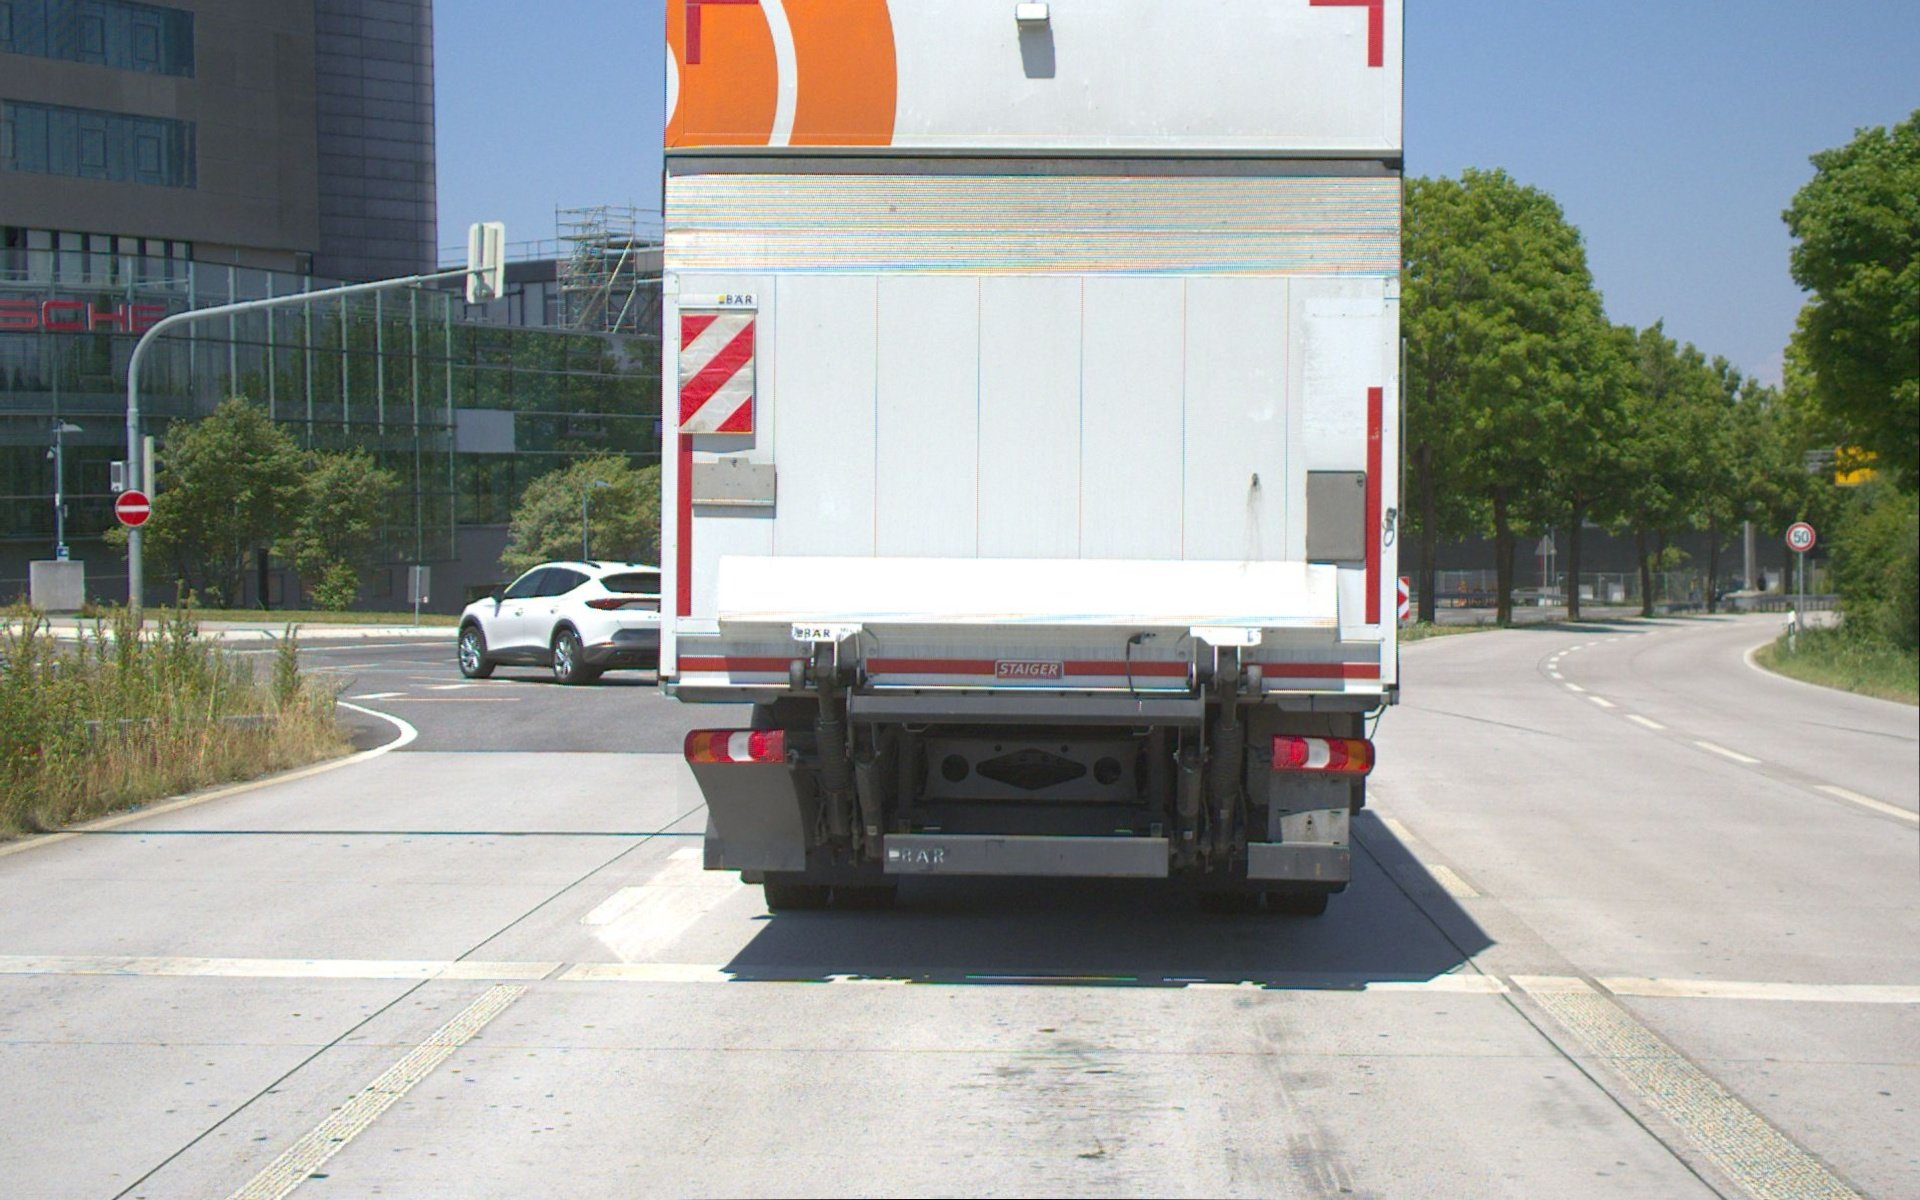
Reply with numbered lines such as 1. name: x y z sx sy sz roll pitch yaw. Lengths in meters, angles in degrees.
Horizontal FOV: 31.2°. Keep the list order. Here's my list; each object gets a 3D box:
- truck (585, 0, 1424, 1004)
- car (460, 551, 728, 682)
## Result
1. truck: 0.294 -0.612 16.253 2.769 3.846 9.370 1 0 2
2. car: -4.612 0.182 42.854 1.802 1.551 4.000 1 0 -31
